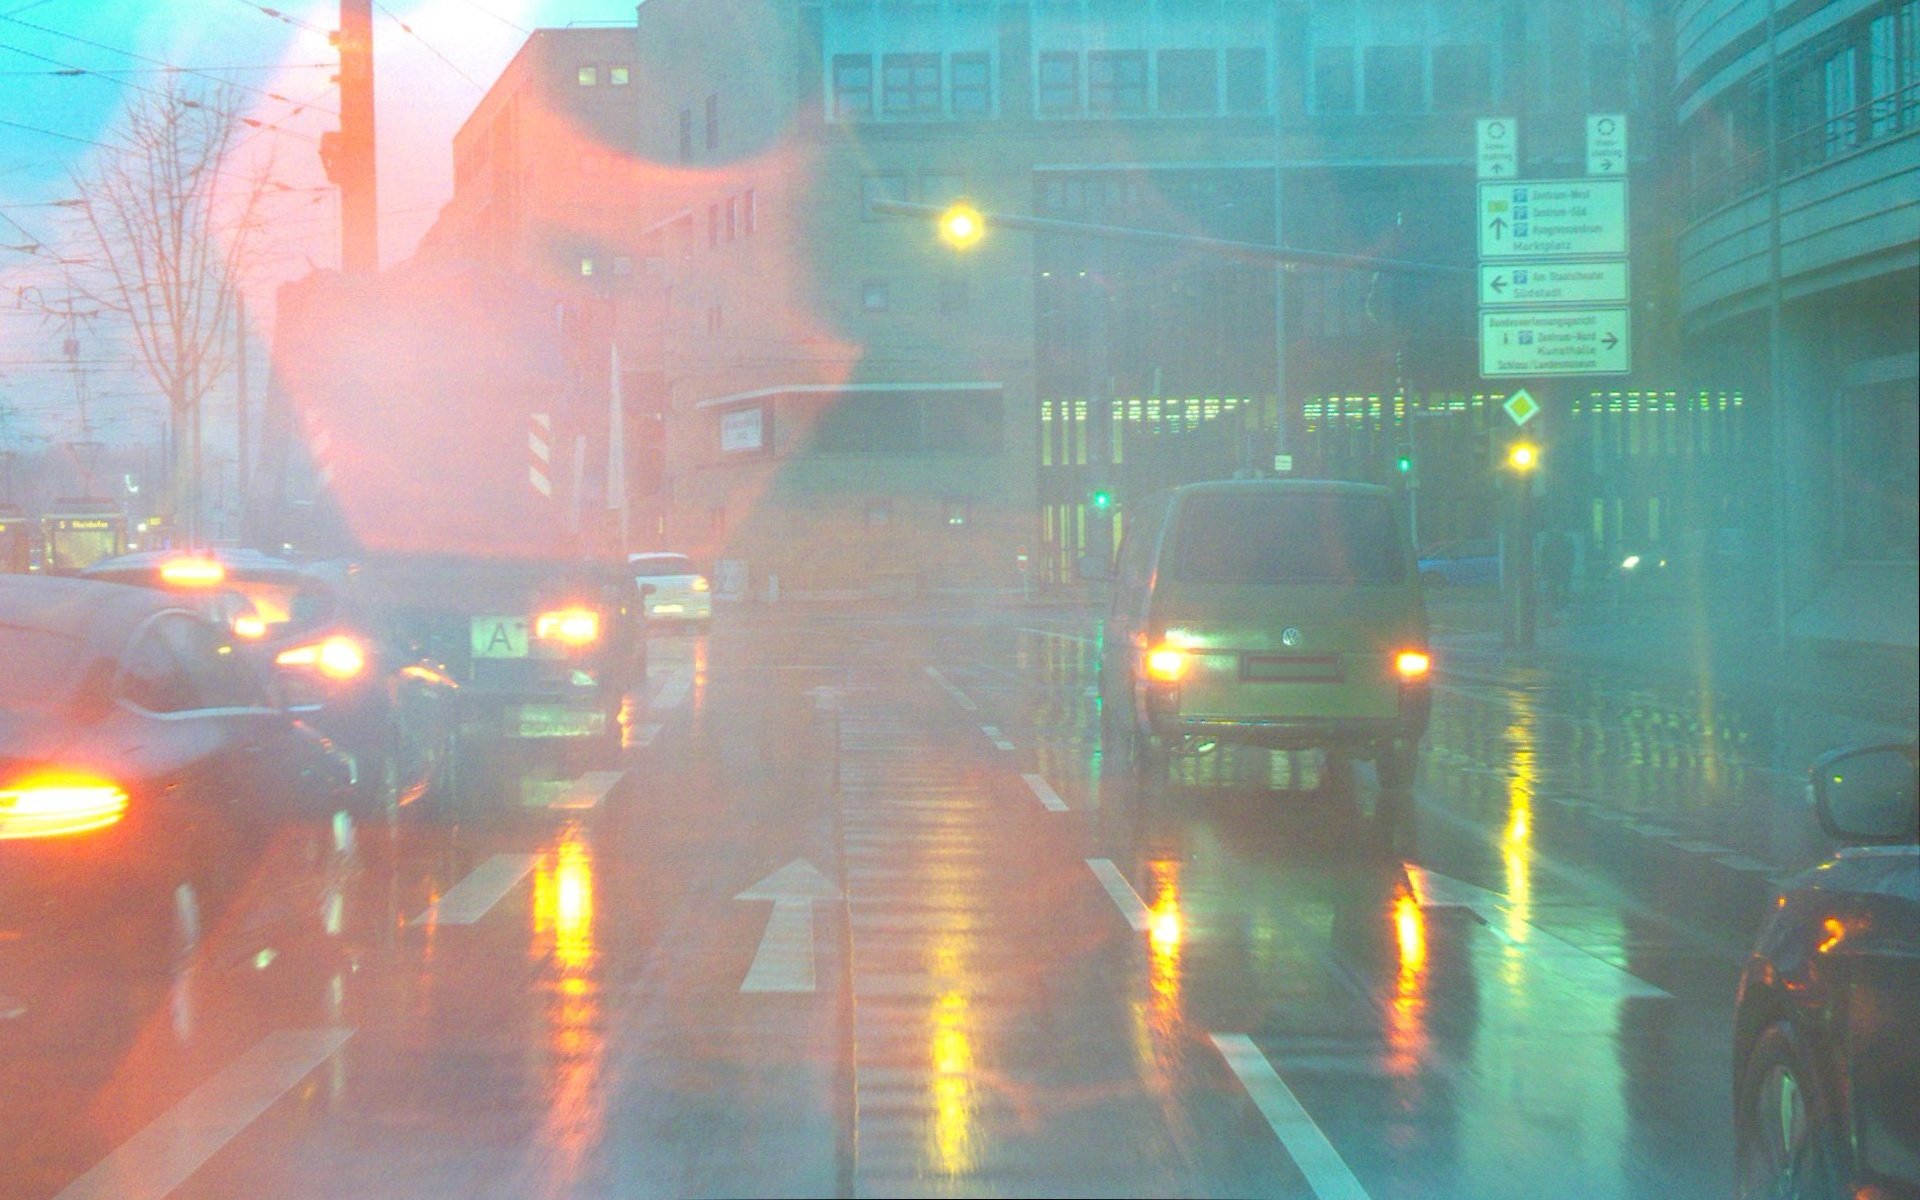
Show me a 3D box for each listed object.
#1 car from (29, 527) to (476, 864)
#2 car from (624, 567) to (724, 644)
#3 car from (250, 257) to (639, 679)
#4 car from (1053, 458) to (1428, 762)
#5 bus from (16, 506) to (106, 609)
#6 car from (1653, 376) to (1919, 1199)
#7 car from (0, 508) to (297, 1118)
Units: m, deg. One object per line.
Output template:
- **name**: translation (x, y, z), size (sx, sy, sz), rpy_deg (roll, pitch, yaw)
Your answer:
- **car**: translation (-3.439, 0.400, 17.357), size (1.704, 1.503, 4.001), rpy_deg (0, 1, -4)
- **car**: translation (-5.083, 0.087, 61.354), size (1.511, 1.301, 3.041), rpy_deg (-1, 1, 0)
- **car**: translation (-3.749, -0.925, 26.223), size (2.355, 2.817, 6.360), rpy_deg (0, 1, -3)
- **car**: translation (1.741, 0.023, 22.778), size (1.843, 1.800, 4.487), rpy_deg (0, 1, -4)
- **bus**: translation (-30.719, -1.457, 117.685), size (2.822, 3.361, 8.002), rpy_deg (-1, 1, -14)
- **car**: translation (2.210, 0.563, 4.710), size (1.674, 1.773, 4.000), rpy_deg (-1, 1, 0)
- **car**: translation (-2.955, 0.533, 10.253), size (1.517, 1.515, 3.471), rpy_deg (-1, 0, -4)
